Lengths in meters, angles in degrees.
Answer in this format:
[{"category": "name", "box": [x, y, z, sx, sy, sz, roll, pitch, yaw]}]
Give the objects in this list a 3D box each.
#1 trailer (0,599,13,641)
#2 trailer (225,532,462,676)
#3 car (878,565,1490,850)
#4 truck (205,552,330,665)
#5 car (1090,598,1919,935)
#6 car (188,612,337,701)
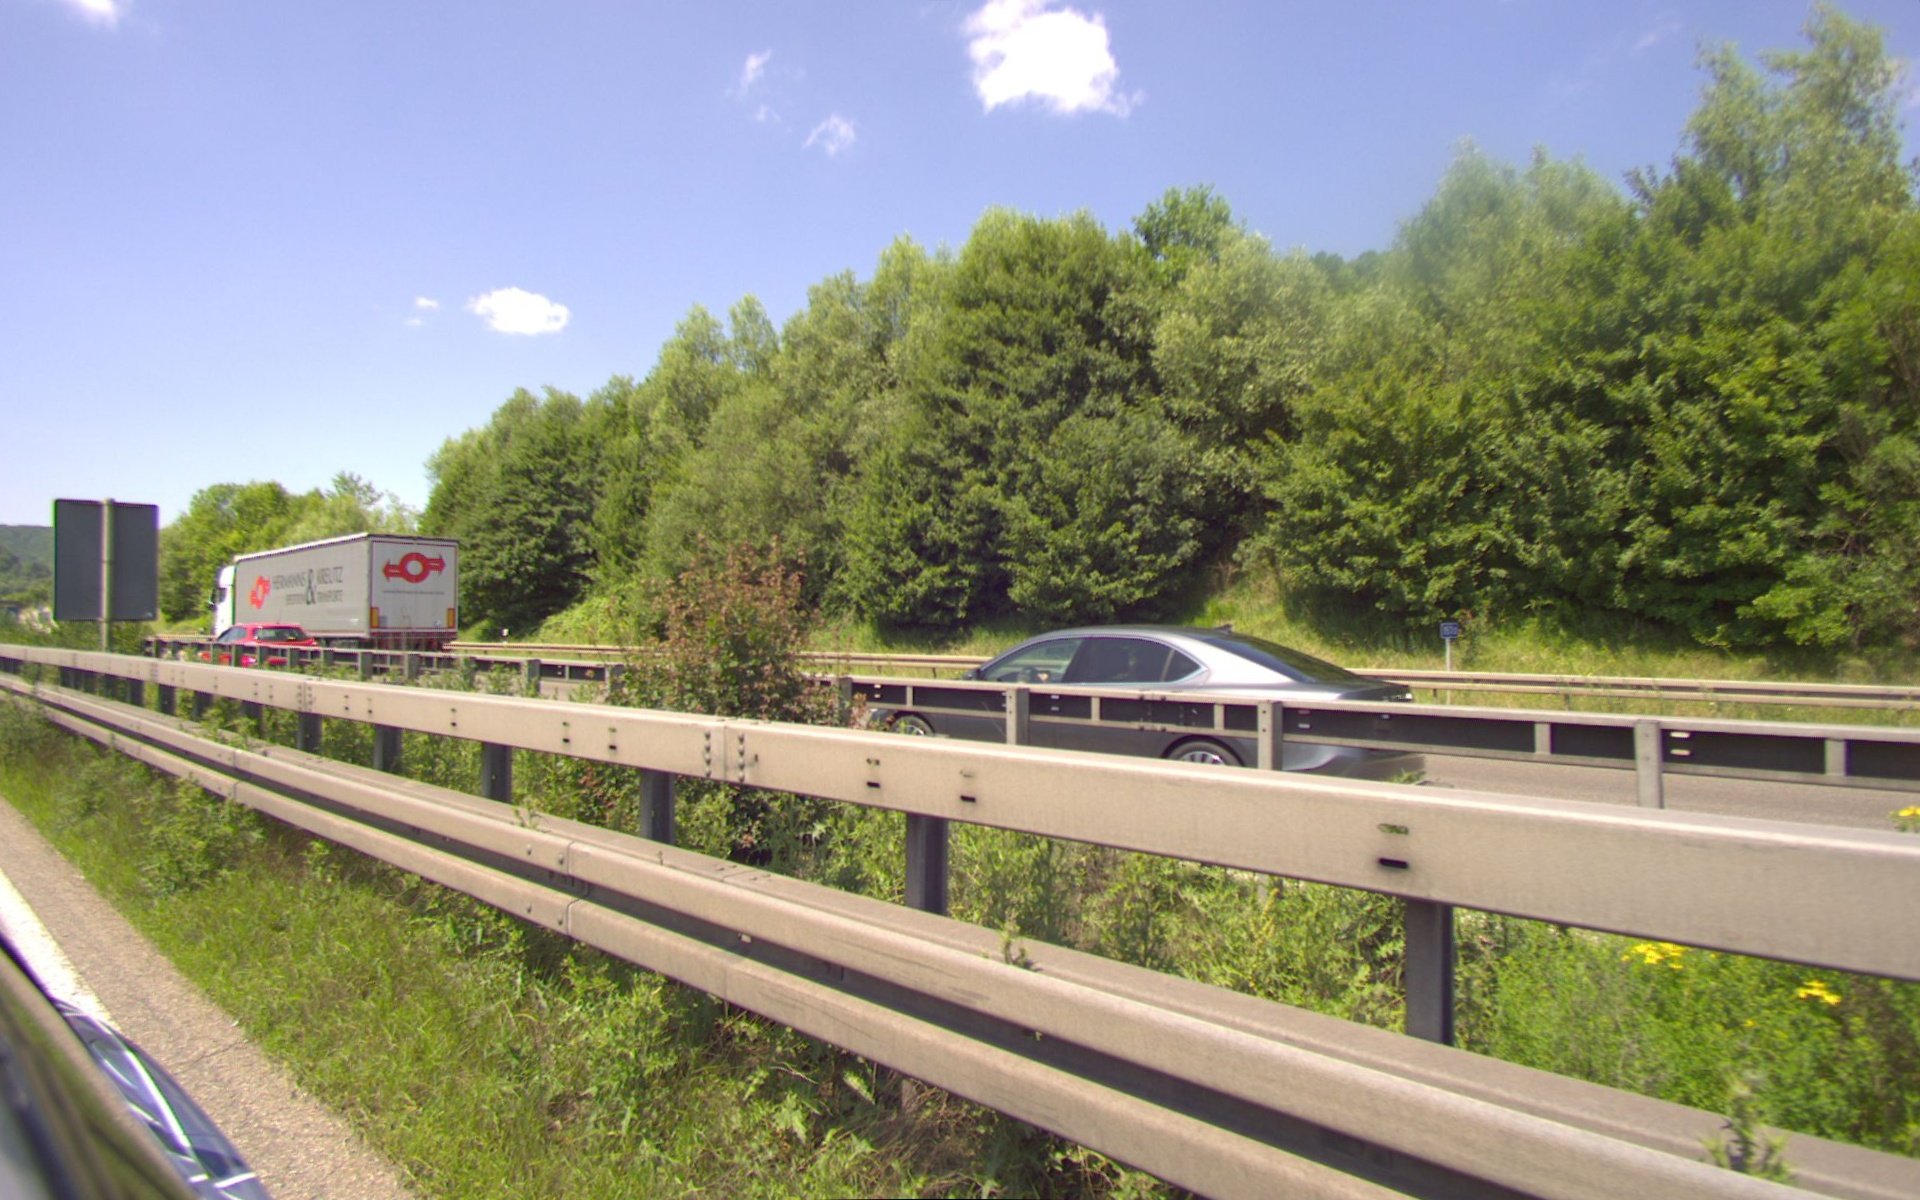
[{"category": "trailer", "box": [-96.406, 2.049, 100.408, 12.596, 4.035, 2.553, -2, -1, 42]}, {"category": "trailer", "box": [-21.121, 0.245, 33.973, 14.153, 4.030, 2.753, -1, -1, 42]}, {"category": "car", "box": [1.531, 0.671, 8.080, 4.490, 1.664, 1.756, -1, -1, 42]}, {"category": "truck", "box": [-26.616, 0.375, 38.841, 5.367, 4.032, 2.699, -2, -2, 42]}, {"category": "car", "box": [3.223, 0.770, 6.445, 4.533, 1.475, 1.779, -1, -1, 41]}, {"category": "car", "box": [-17.561, 1.353, 25.404, 4.330, 2.029, 1.974, -1, -1, 39]}]
